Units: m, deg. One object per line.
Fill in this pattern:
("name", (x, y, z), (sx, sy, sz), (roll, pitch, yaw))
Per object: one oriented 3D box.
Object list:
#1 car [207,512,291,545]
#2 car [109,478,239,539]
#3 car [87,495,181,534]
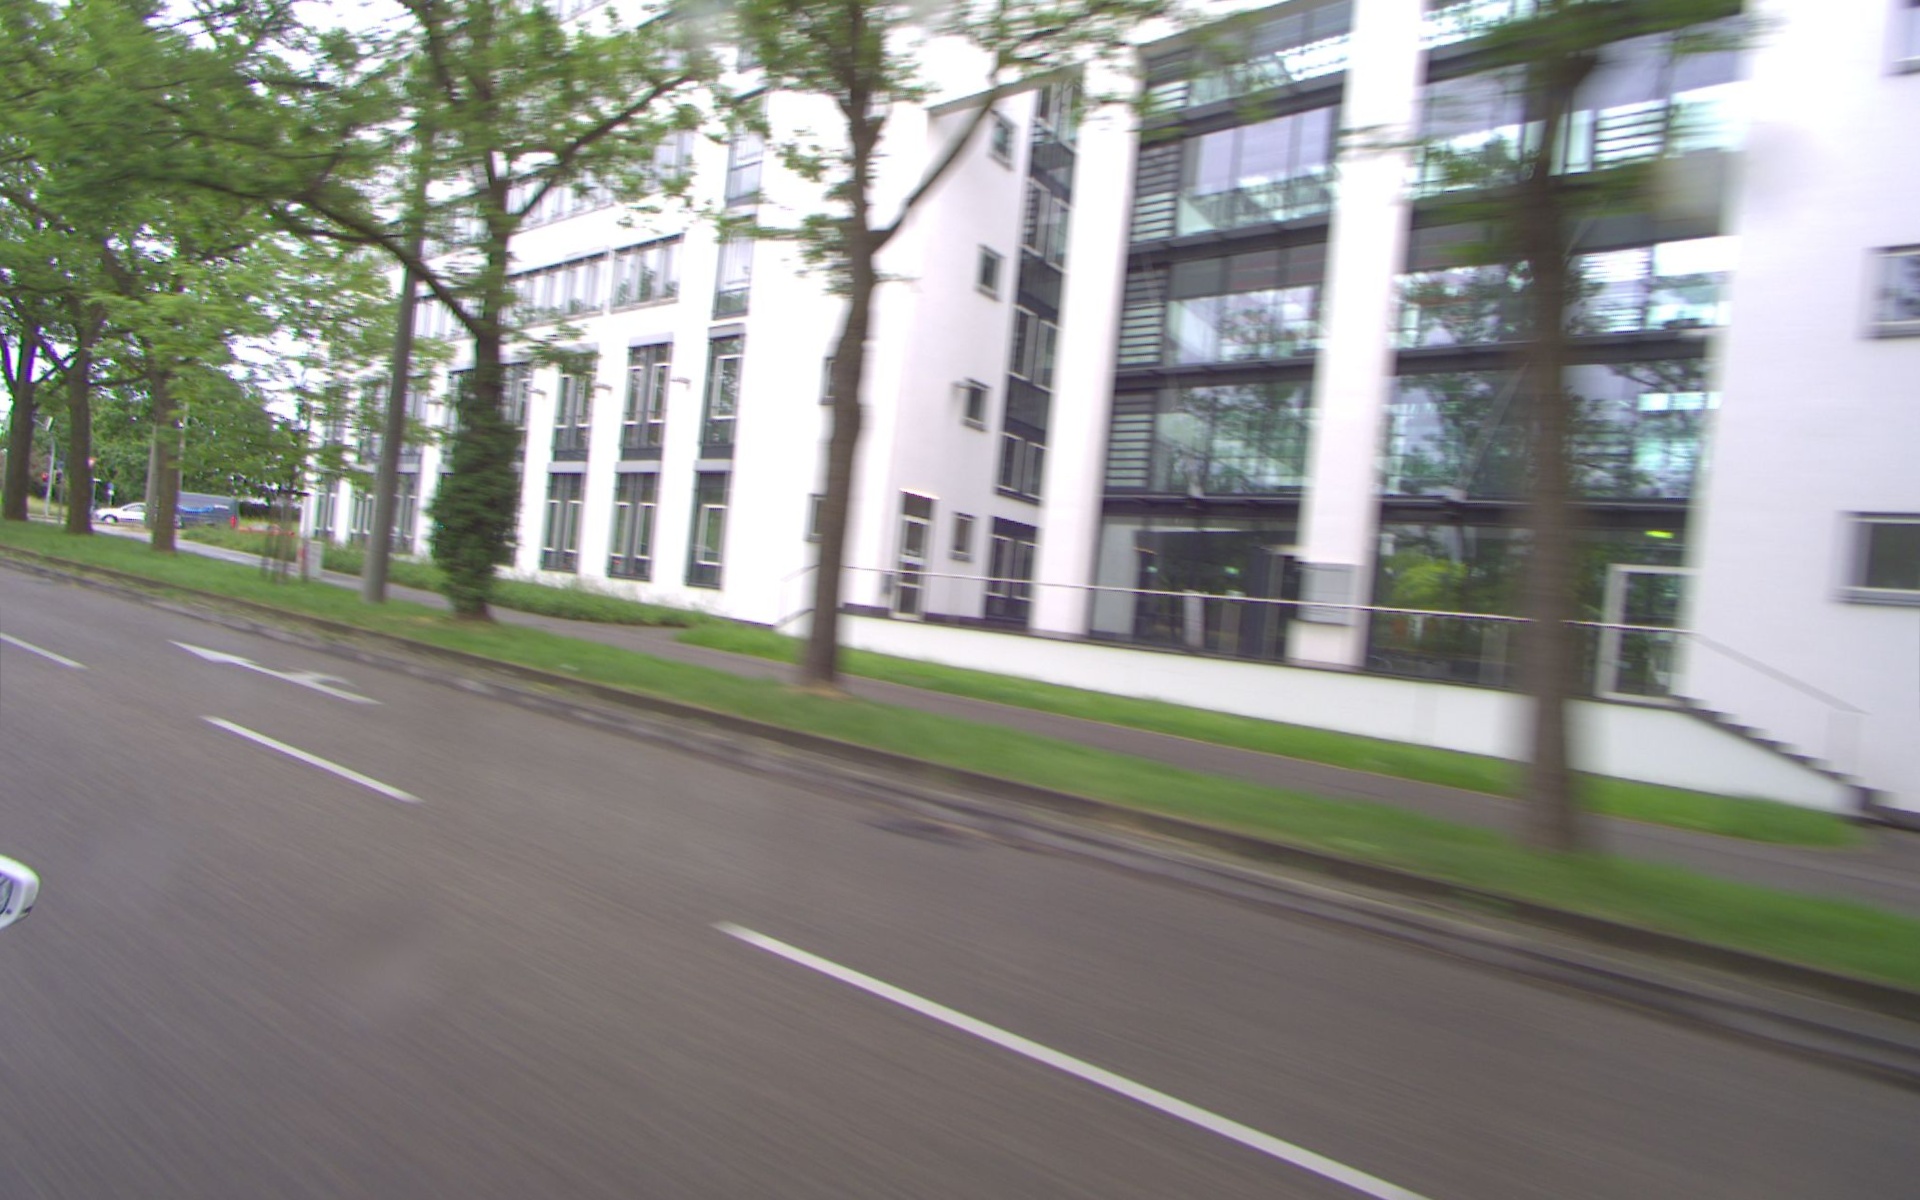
("car", (-49.846, -4.997, 70.653), (4.492, 1.487, 2.146), (9, -2, -31))
("car", (-49.286, -5.678, 63.310), (5.964, 2.773, 2.067), (7, -2, -30))
("car", (-49.375, -5.098, 60.238), (4.021, 1.586, 1.856), (8, -3, -33))
